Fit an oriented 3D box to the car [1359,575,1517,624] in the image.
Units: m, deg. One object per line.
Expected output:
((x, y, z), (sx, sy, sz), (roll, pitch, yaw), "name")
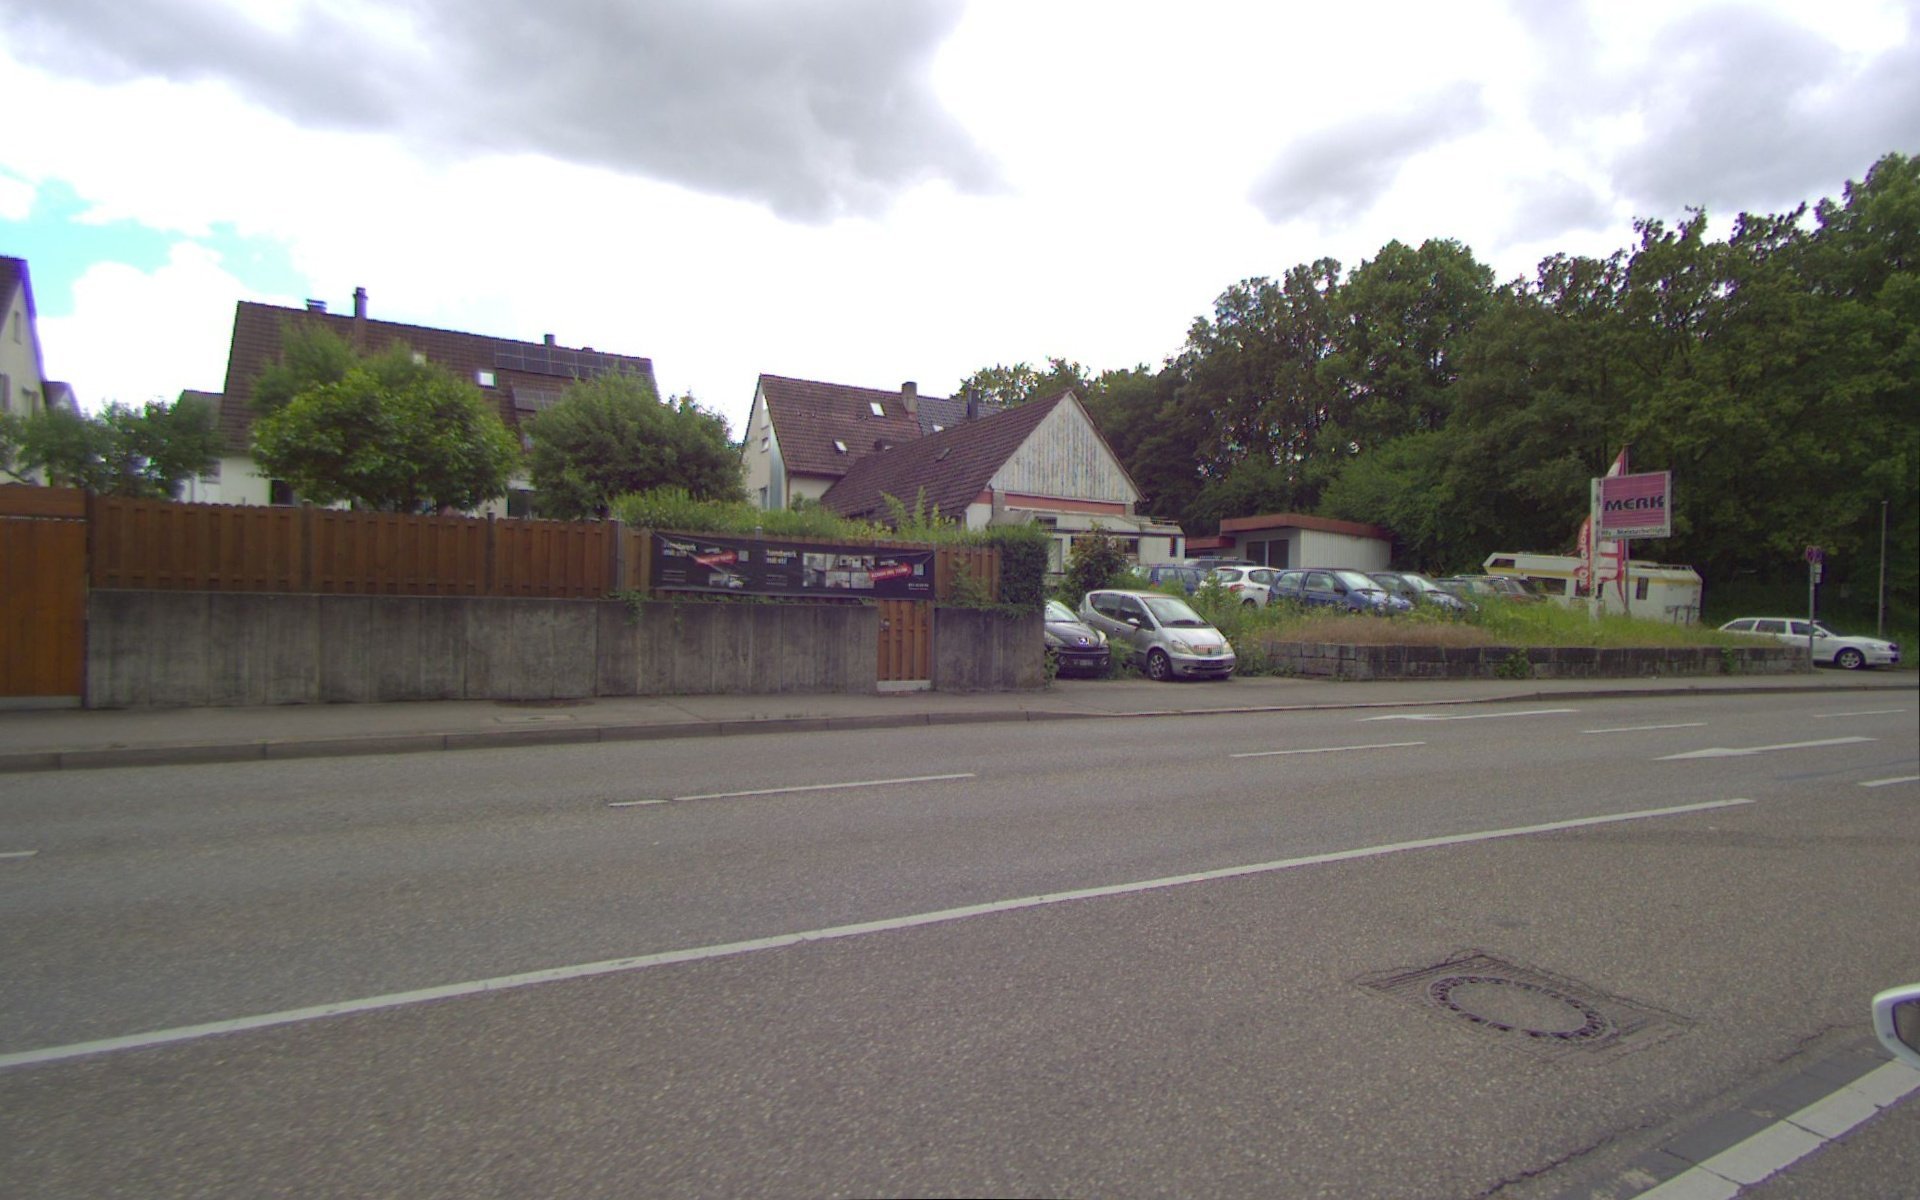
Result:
((14.190, -0.044, 30.058), (1.863, 1.285, 3.914), (2, 1, -28), "car")

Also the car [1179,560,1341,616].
((8.196, -0.286, 27.328), (4.353, 1.360, 1.837), (1, 0, -32), "car")

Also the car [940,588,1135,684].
((1.408, 0.641, 19.780), (1.975, 1.625, 3.970), (2, 1, -28), "car")

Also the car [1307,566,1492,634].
((10.248, -0.029, 23.724), (1.513, 1.430, 3.975), (2, 1, -25), "car")

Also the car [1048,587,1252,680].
((3.728, 0.616, 20.411), (1.975, 1.639, 3.970), (2, 1, -28), "car")

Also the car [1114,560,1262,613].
((6.732, -0.380, 29.576), (4.237, 1.336, 1.660), (2, 1, -31), "car")

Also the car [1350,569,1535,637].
((11.821, 0.040, 24.875), (1.625, 1.512, 3.975), (2, 1, -25), "car")

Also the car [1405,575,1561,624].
((16.367, -0.050, 31.651), (1.973, 1.388, 3.975), (2, 1, -25), "car")

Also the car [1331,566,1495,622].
((12.527, -0.183, 28.015), (1.892, 1.397, 3.828), (2, 1, -25), "car")

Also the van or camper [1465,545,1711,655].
((23.105, -0.146, 37.461), (2.763, 3.417, 7.107), (1, 5, -29), "van or camper")

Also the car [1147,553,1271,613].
((9.818, -0.652, 39.499), (4.694, 2.090, 1.871), (2, 1, -30), "car")

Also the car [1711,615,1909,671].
((26.565, 1.287, 31.553), (1.939, 1.460, 4.351), (1, 1, -32), "car")

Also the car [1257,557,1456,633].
((8.767, -0.134, 22.588), (1.834, 1.517, 3.975), (2, 1, -25), "car")
